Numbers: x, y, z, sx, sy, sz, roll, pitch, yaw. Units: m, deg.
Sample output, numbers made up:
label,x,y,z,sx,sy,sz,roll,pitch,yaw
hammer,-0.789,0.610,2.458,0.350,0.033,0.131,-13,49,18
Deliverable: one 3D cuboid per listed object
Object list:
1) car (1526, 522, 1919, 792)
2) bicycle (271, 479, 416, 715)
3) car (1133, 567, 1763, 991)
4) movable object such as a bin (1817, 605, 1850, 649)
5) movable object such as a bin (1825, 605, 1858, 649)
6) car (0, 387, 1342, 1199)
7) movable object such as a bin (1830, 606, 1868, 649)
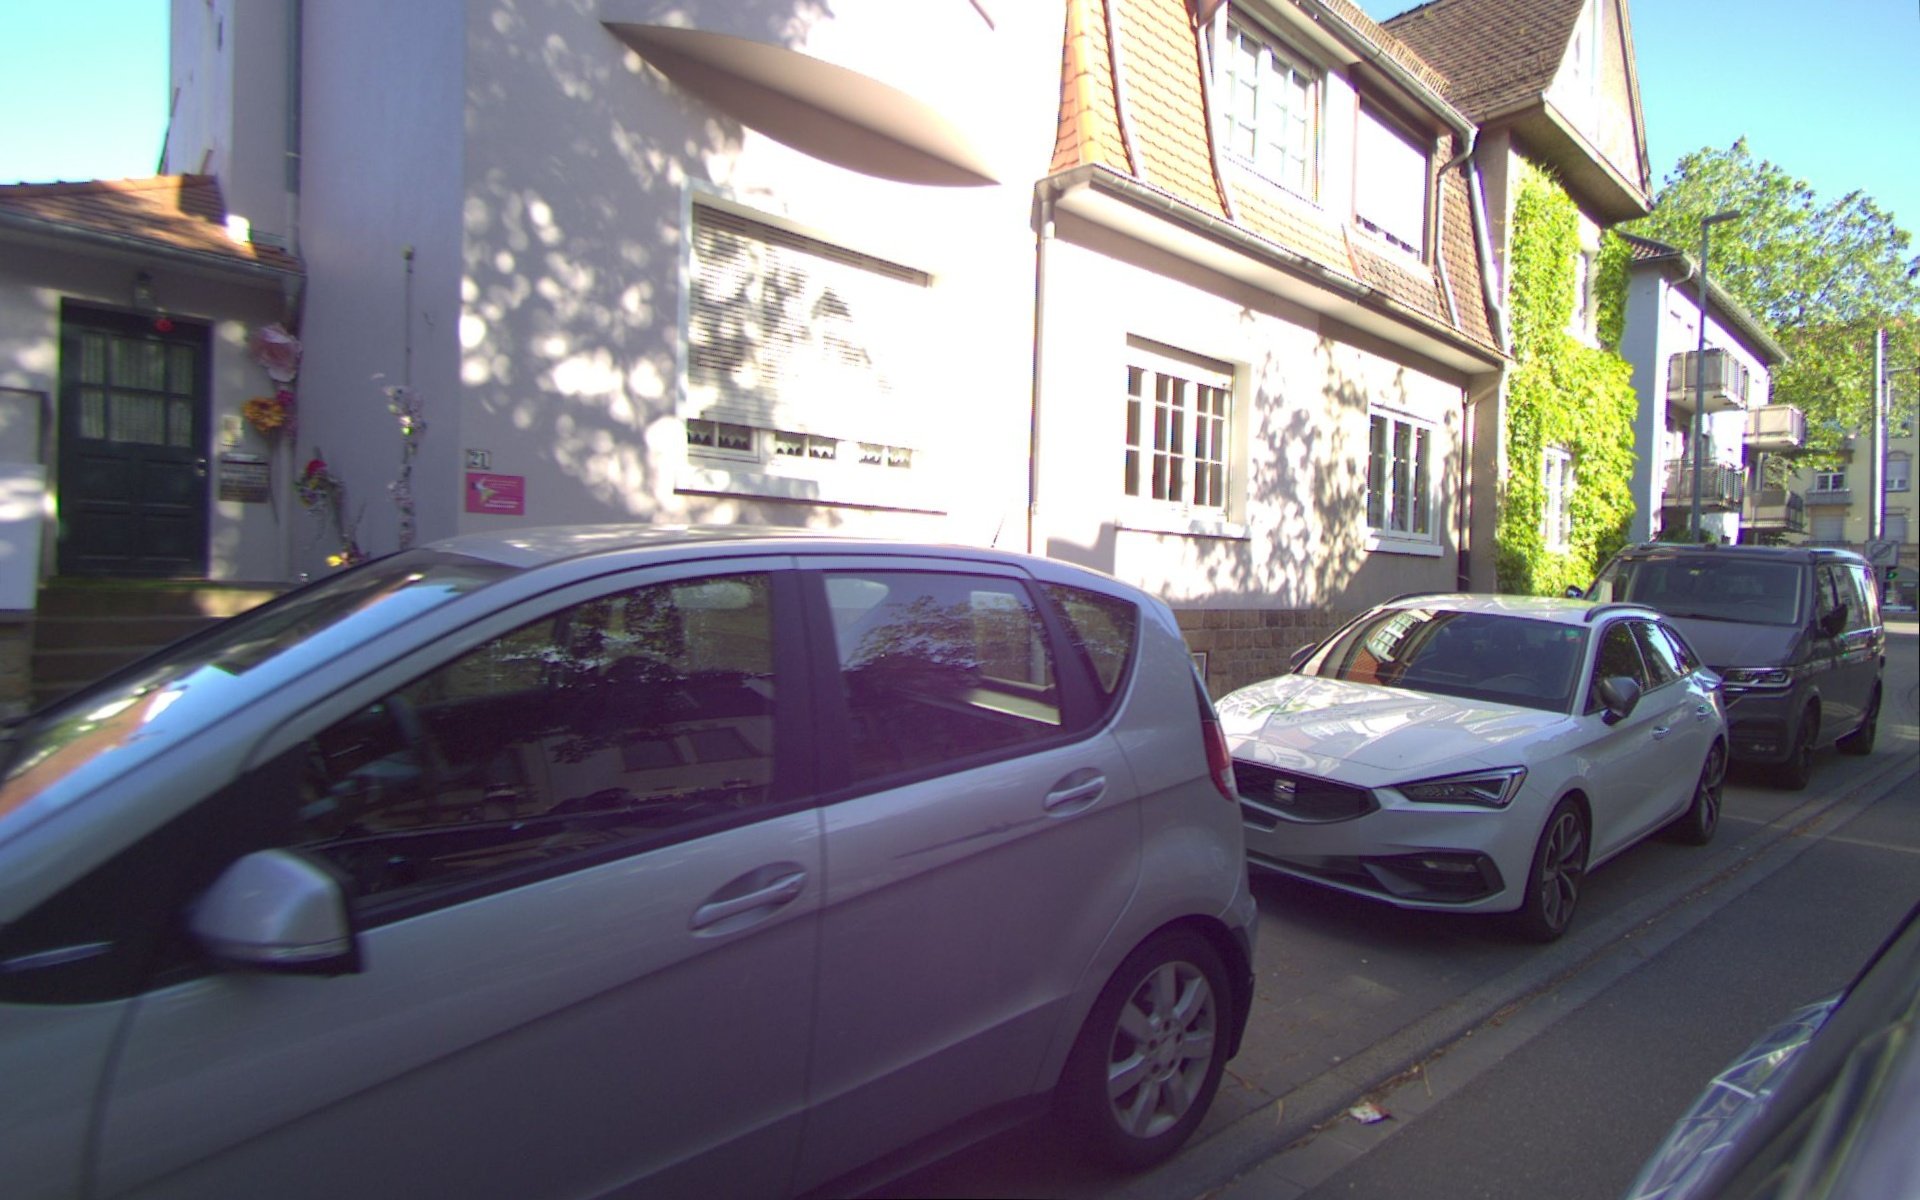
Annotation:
label,x,y,z,sx,sy,sz,roll,pitch,yaw
car,7.343,0.370,9.536,4.697,1.939,1.870,0,3,-40
bicycle,-3.405,-0.043,5.530,0.389,1.114,1.639,1,1,-41
car,3.012,0.623,5.704,4.363,1.475,1.681,0,2,-43
movable object such as a bin,22.256,0.686,25.791,0.608,1.056,0.484,0,5,-42
movable object such as a bin,22.918,0.695,26.313,0.645,1.056,0.484,0,5,-42
car,-1.062,0.501,2.292,3.928,1.619,1.794,0,5,-39
movable object such as a bin,23.553,0.717,26.821,0.695,1.056,0.598,0,5,-42
